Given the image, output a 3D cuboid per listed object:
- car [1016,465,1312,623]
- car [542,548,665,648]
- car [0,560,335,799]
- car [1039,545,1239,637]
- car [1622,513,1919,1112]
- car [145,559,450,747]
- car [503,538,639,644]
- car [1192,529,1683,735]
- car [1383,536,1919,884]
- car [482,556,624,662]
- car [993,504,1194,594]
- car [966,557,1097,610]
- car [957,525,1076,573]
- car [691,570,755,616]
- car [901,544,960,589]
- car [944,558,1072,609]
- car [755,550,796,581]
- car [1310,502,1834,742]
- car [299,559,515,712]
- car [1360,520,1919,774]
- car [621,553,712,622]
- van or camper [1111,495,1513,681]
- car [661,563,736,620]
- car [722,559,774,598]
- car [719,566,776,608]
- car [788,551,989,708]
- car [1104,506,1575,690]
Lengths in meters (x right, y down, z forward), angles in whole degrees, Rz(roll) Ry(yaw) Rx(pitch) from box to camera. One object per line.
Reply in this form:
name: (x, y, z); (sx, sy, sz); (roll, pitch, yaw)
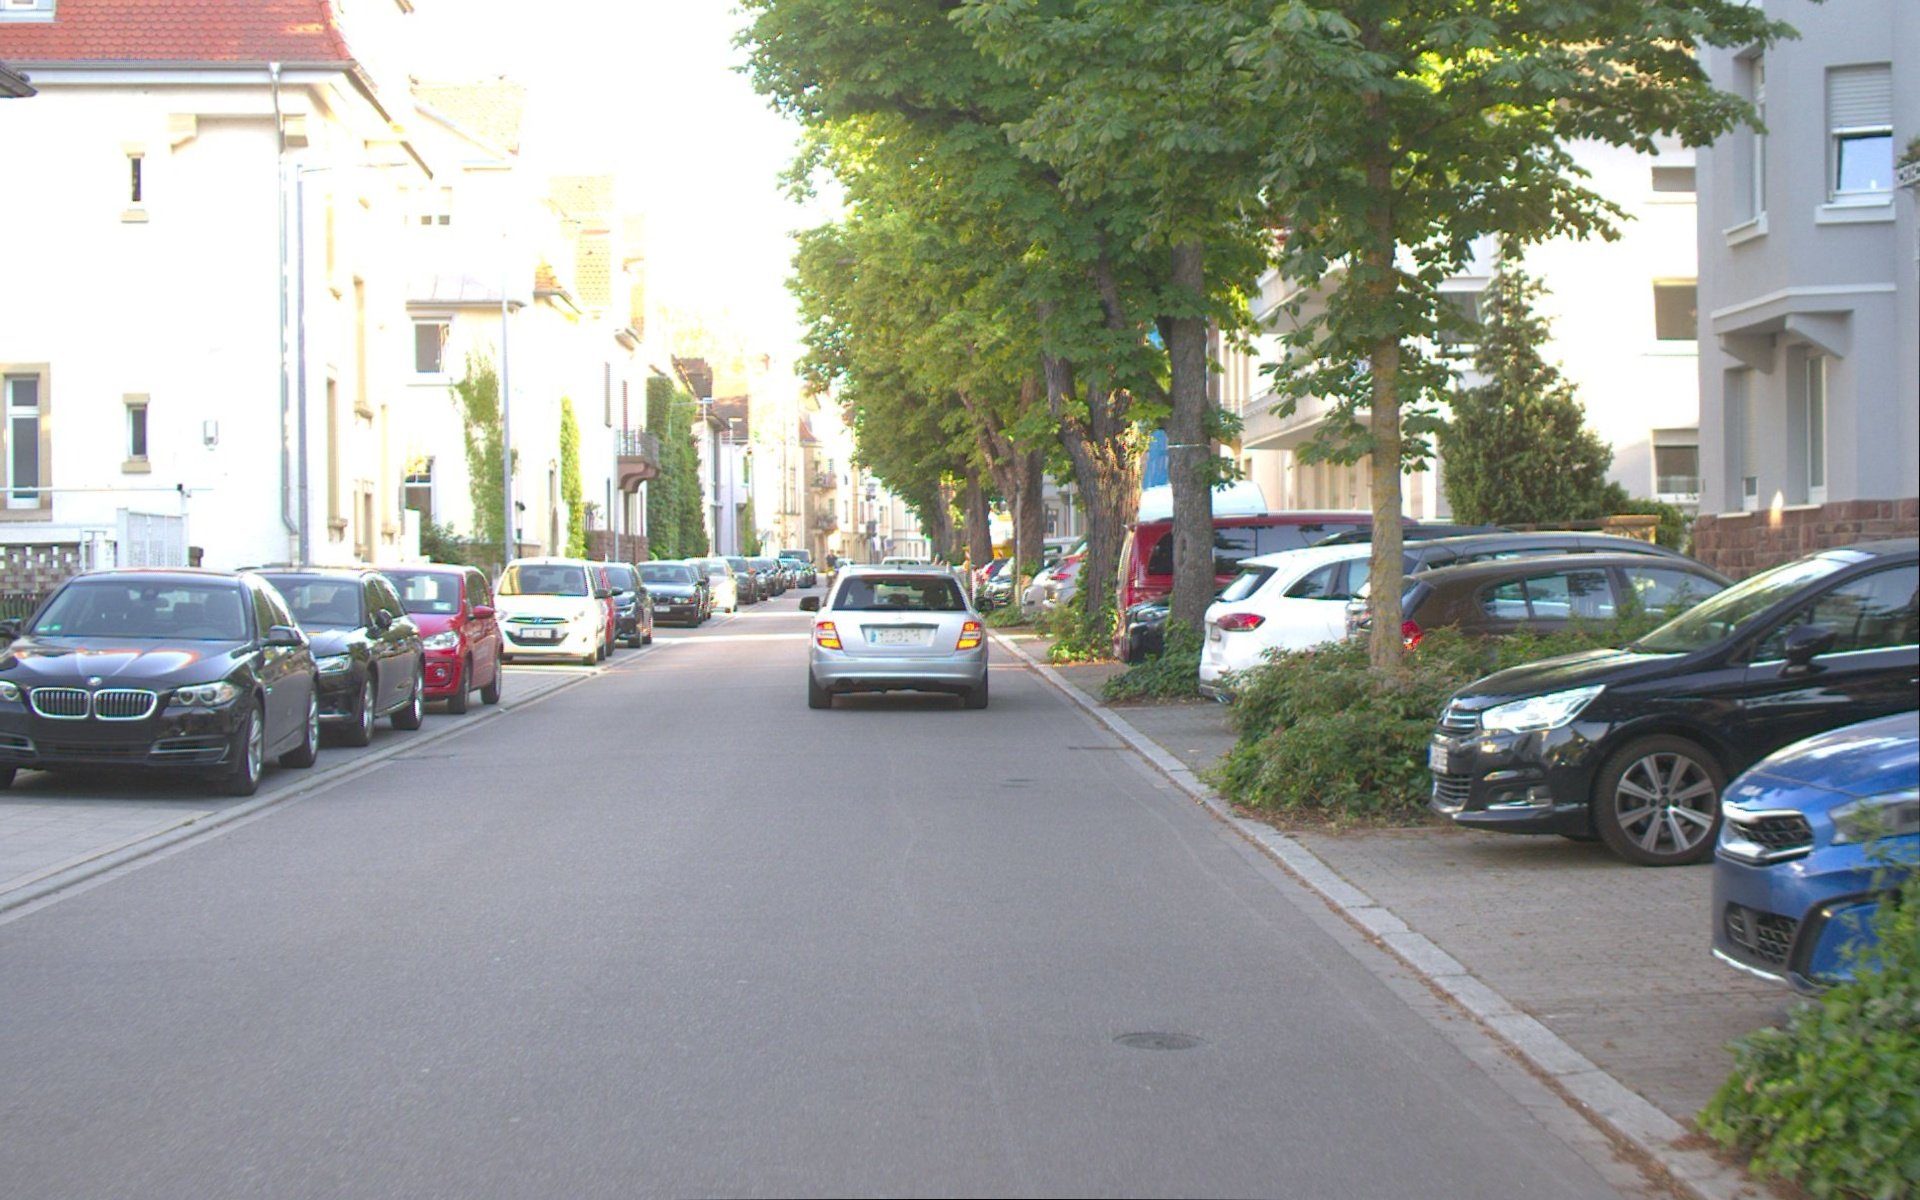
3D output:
car: (3.980, -1.109, 67.894); (5.541, 2.958, 2.472); (-1, 1, -3)
car: (-6.170, -0.066, 59.875); (1.799, 1.639, 3.857); (0, 1, -1)
car: (-5.552, 0.476, 23.908); (1.854, 1.492, 4.656); (0, 1, -4)
car: (3.359, -0.181, 64.822); (3.594, 1.654, 1.650); (-1, 1, -3)
car: (4.484, 0.522, 10.434); (4.526, 1.635, 1.874); (-1, 1, -2)
car: (-5.656, 0.405, 29.895); (1.783, 1.492, 4.700); (0, 1, -1)
car: (-6.203, -0.125, 55.141); (1.799, 1.639, 3.857); (0, 0, -1)
car: (3.873, 0.244, 28.306); (3.730, 1.553, 1.725); (-1, 1, -2)
car: (4.324, 0.475, 16.868); (4.190, 1.553, 1.874); (-1, 1, -2)
car: (-5.921, 0.108, 50.314); (1.659, 1.494, 3.754); (0, 1, -1)
car: (3.122, -1.206, 81.009); (4.518, 2.007, 2.251); (-1, 1, -3)
car: (2.109, -0.503, 102.597); (3.844, 1.477, 1.805); (-1, 1, 0)
car: (1.823, -1.669, 112.118); (3.844, 1.477, 1.805); (-1, 1, 0)
car: (-7.430, -0.236, 108.019); (1.799, 1.382, 3.606); (0, 1, -1)
car: (-0.973, -1.122, 115.524); (1.817, 1.468, 4.216); (-1, 0, 2)
car: (1.452, -0.515, 105.041); (3.844, 1.477, 1.805); (-1, 1, 0)
car: (-8.535, -1.585, 159.154); (1.799, 1.382, 3.606); (0, 1, -1)
car: (4.516, 0.147, 25.717); (3.547, 1.648, 1.725); (-1, 1, -2)
car: (-5.646, 0.331, 35.479); (1.659, 1.483, 3.754); (0, 1, -1)
car: (4.770, 0.288, 23.197); (3.925, 1.553, 1.725); (-1, 1, 1)
car: (-6.606, -0.311, 77.695); (1.799, 1.477, 3.857); (0, 1, -1)
van or camper: (3.853, -0.144, 38.228); (4.313, 2.007, 2.000); (0, 1, 2)
car: (-7.129, -0.255, 94.009); (1.799, 1.477, 3.857); (0, 1, -1)
car: (-7.955, -0.809, 129.025); (1.799, 1.382, 3.606); (0, 1, -1)
car: (-7.254, -0.462, 117.753); (1.799, 1.382, 3.606); (0, 1, -1)
car: (-0.666, 0.273, 34.811); (1.817, 1.468, 4.216); (-1, 0, 2)
car: (3.861, -0.039, 35.568); (4.625, 1.830, 1.954); (0, 1, -1)
